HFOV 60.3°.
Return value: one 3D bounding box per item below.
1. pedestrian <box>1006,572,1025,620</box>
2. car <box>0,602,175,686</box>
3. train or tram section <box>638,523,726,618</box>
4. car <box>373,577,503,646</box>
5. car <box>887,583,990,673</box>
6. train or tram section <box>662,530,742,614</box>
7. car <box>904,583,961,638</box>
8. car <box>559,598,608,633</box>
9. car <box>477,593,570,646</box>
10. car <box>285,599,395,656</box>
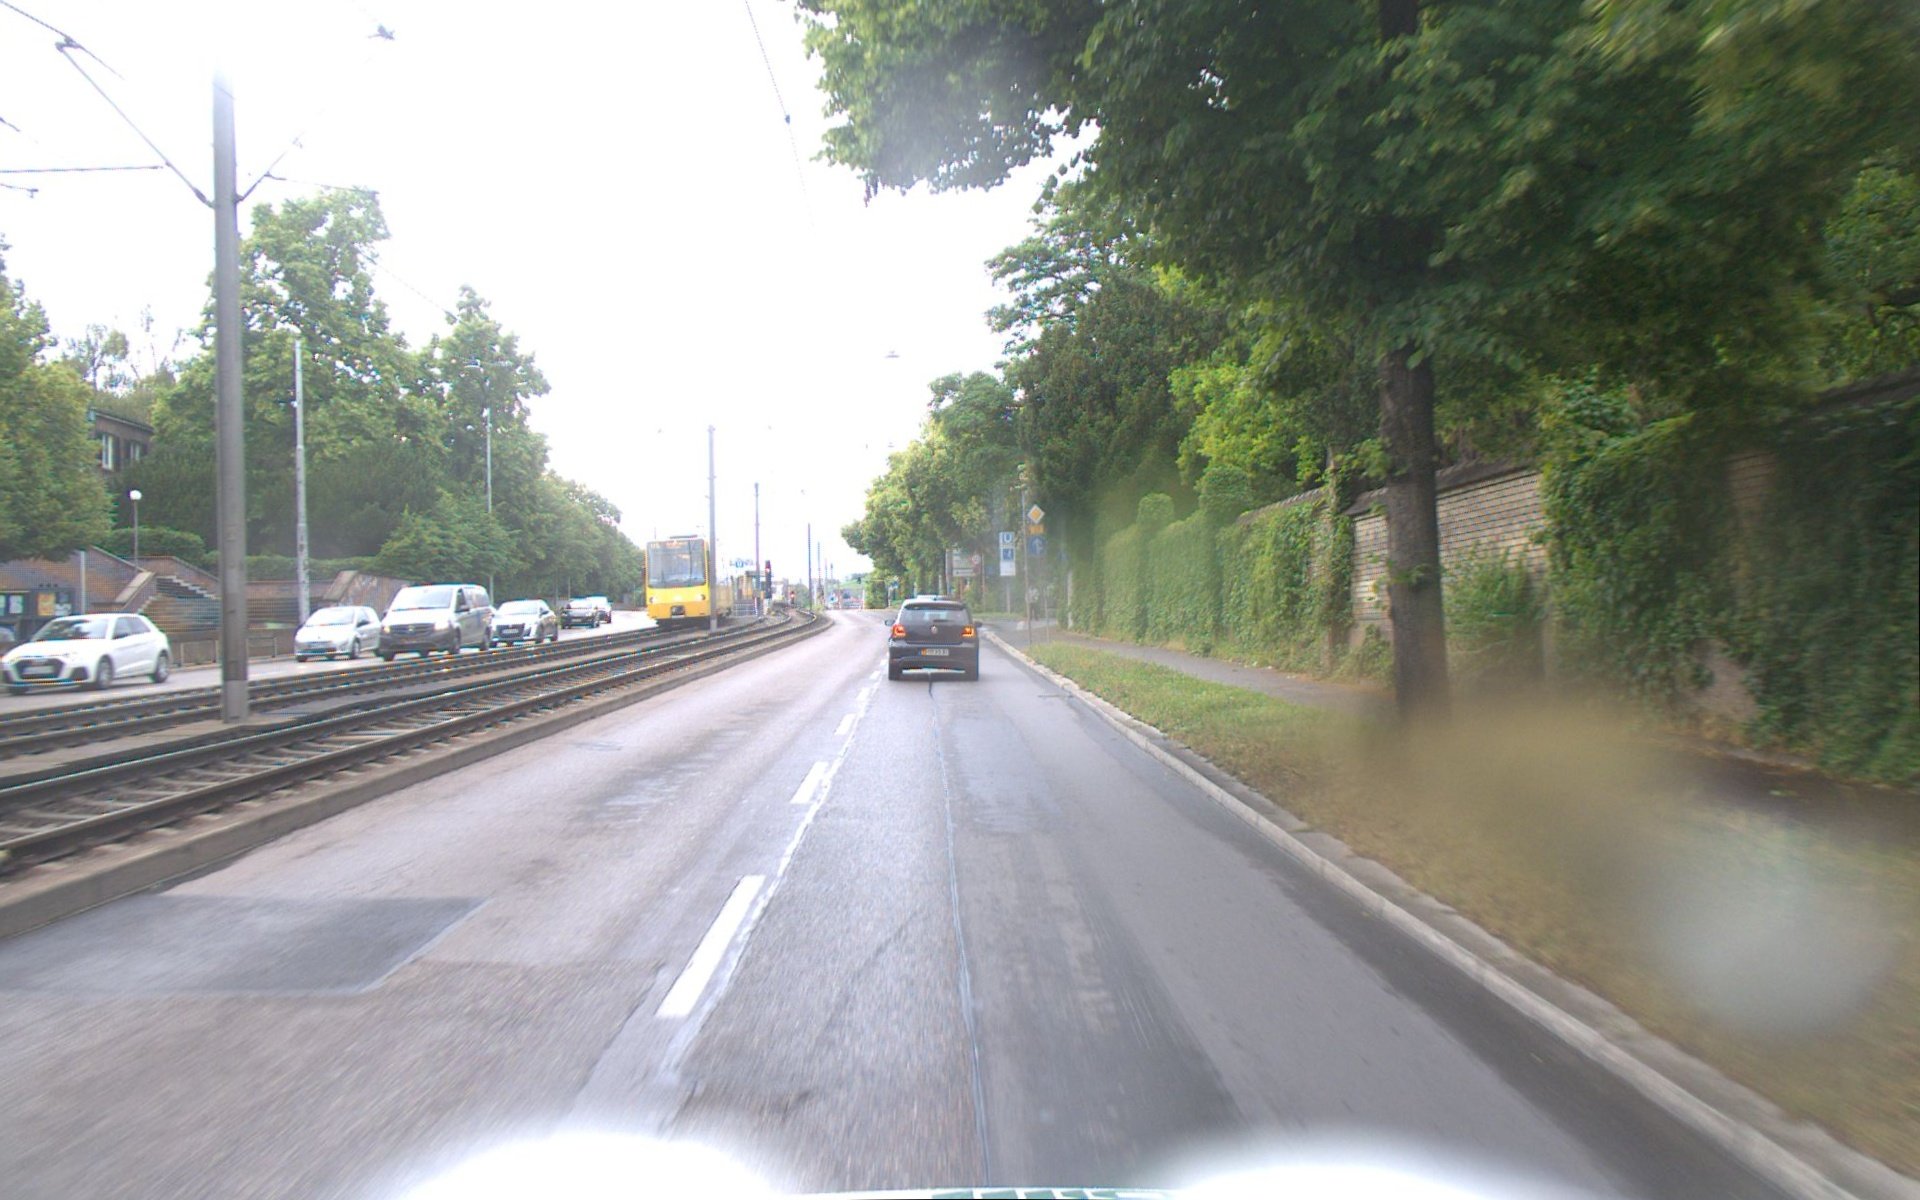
[{"bbox_3d":[3.525,-0.263,105.706,1.140,3.029,0.947,0,0,-2],"label":"pedestrian"},{"bbox_3d":[-16.889,0.802,32.028,1.584,1.459,3.999,0,1,-2],"label":"car"},{"bbox_3d":[-11.369,-1.186,68.417,2.776,3.668,9.262,0,1,-5],"label":"train or tram section"},{"bbox_3d":[-13.604,0.262,43.412,1.953,1.691,5.125,0,1,-2],"label":"car"},{"bbox_3d":[-0.462,0.467,30.742,1.758,1.511,3.963,1,1,-3],"label":"car"},{"bbox_3d":[-11.975,-1.299,77.605,2.776,3.668,9.265,0,1,-3],"label":"train or tram section"},{"bbox_3d":[-0.836,0.287,50.450,1.642,1.557,3.721,-1,1,-1],"label":"car"},{"bbox_3d":[-19.143,0.782,84.294,1.699,1.691,3.999,0,1,-2],"label":"car"},{"bbox_3d":[-14.217,0.605,54.096,1.953,1.603,4.533,0,1,-2],"label":"car"},{"bbox_3d":[-17.350,0.747,46.452,1.693,1.468,3.999,0,1,-2],"label":"car"}]
